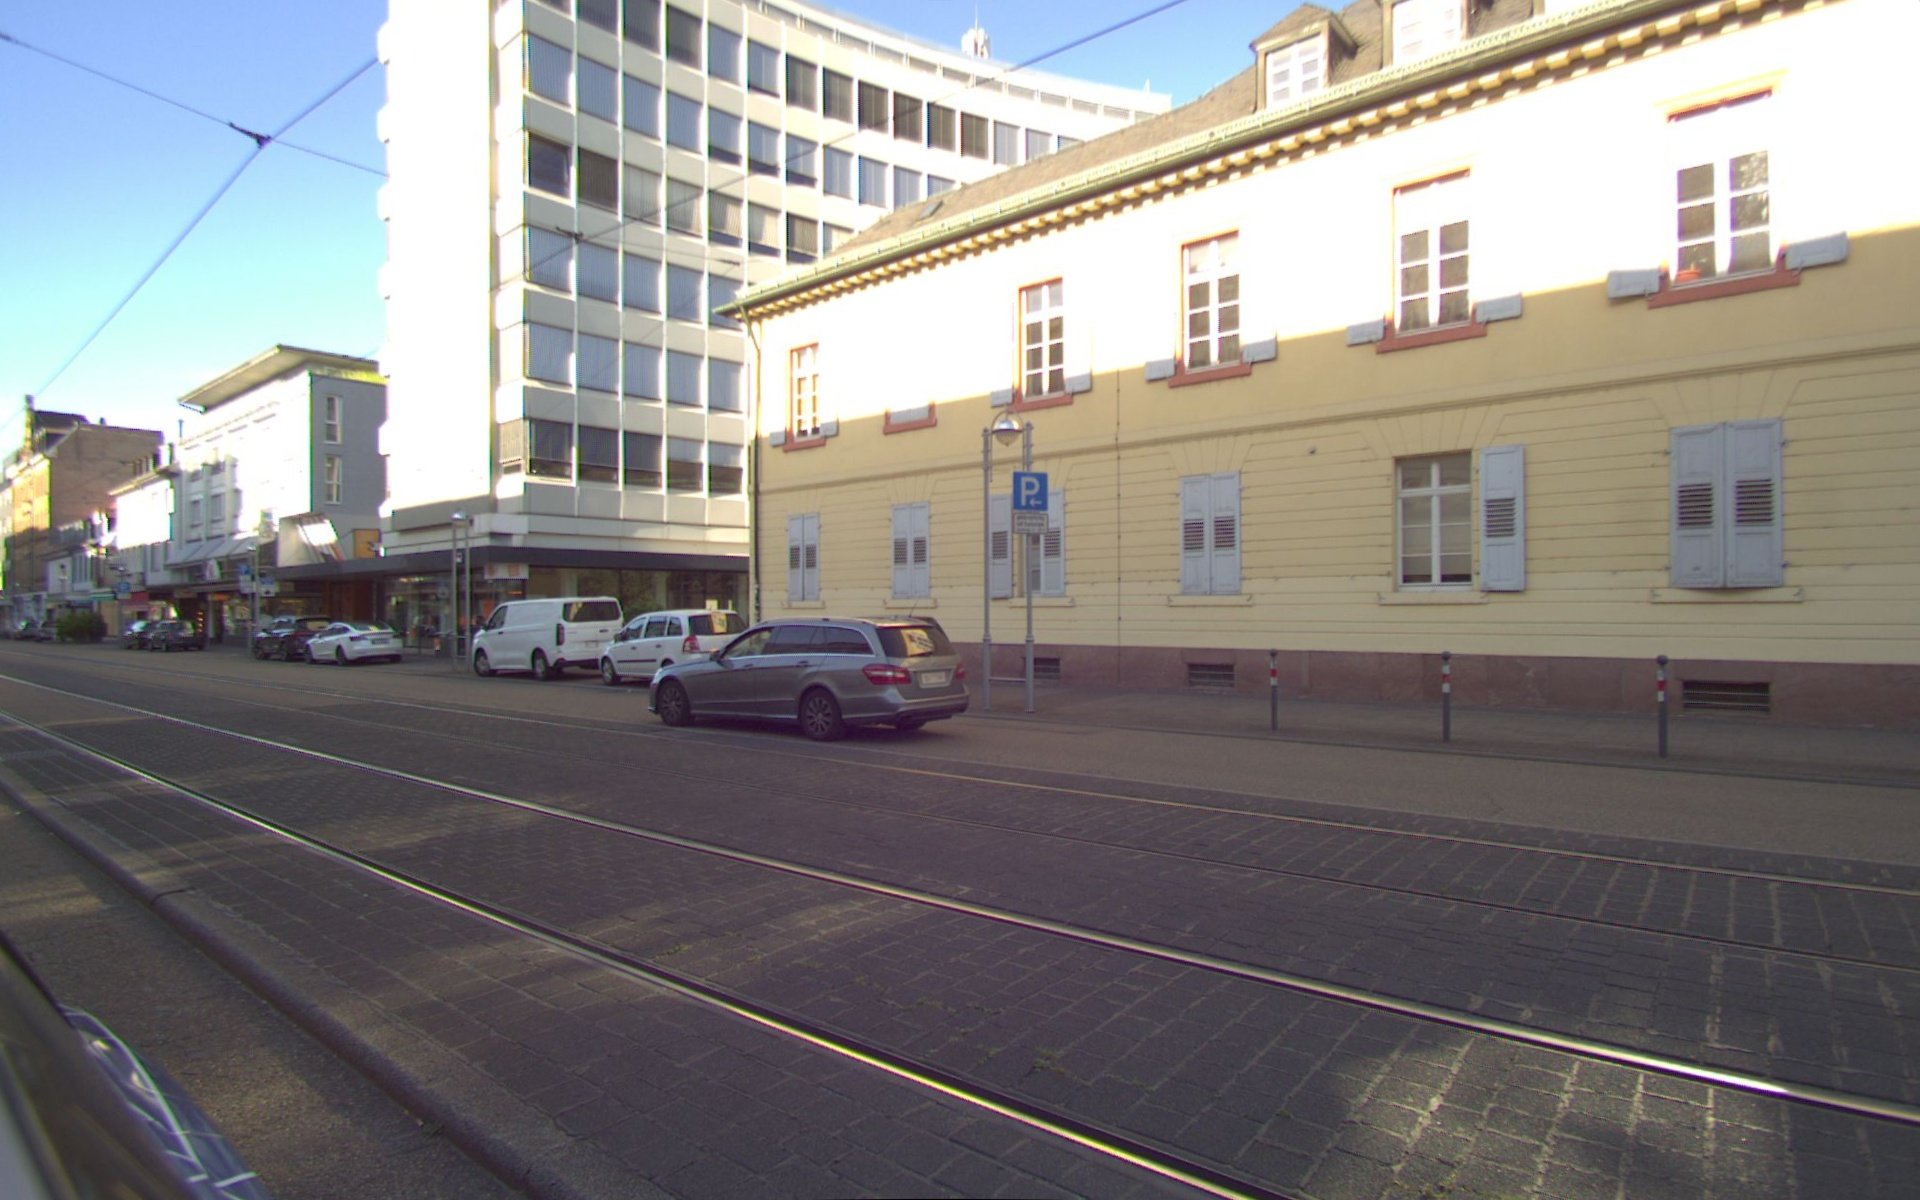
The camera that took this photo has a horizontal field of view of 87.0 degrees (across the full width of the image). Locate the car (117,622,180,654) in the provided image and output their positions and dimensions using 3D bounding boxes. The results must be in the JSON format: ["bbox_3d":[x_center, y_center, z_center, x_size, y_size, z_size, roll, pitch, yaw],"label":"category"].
[{"bbox_3d":[-42.789,1.965,53.311,4.849,1.535,1.719,-1,1,41],"label":"car"}]

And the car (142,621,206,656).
[{"bbox_3d":[-38.259,1.846,49.226,3.584,1.535,1.586,-1,1,38],"label":"car"}]

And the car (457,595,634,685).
[{"bbox_3d":[-10.545,0.944,25.554,5.092,1.990,1.974,-1,1,40],"label":"car"}]

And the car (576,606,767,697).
[{"bbox_3d":[-6.309,1.017,21.836,4.648,1.698,1.788,-1,1,43],"label":"car"}]

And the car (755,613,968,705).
[{"bbox_3d":[-1.808,0.968,17.959,3.717,1.411,1.598,-1,1,40],"label":"car"}]

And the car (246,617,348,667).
[{"bbox_3d":[-24.770,1.518,37.773,4.652,1.691,1.958,-1,1,41],"label":"car"}]

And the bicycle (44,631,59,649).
[{"bbox_3d":[-59.739,2.609,66.537,1.715,1.098,0.513,-1,1,41],"label":"bicycle"}]

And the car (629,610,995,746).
[{"bbox_3d":[-2.090,0.940,13.443,4.920,1.507,1.863,-1,-3,36],"label":"car"}]

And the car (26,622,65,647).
[{"bbox_3d":[-64.888,2.437,71.806,2.889,1.616,1.680,-1,1,40],"label":"car"}]

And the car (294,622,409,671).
[{"bbox_3d":[-20.668,1.521,34.294,4.651,1.431,1.870,-1,1,39],"label":"car"}]

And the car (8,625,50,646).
[{"bbox_3d":[-71.789,2.738,78.021,4.759,1.525,1.799,-1,0,40],"label":"car"}]
